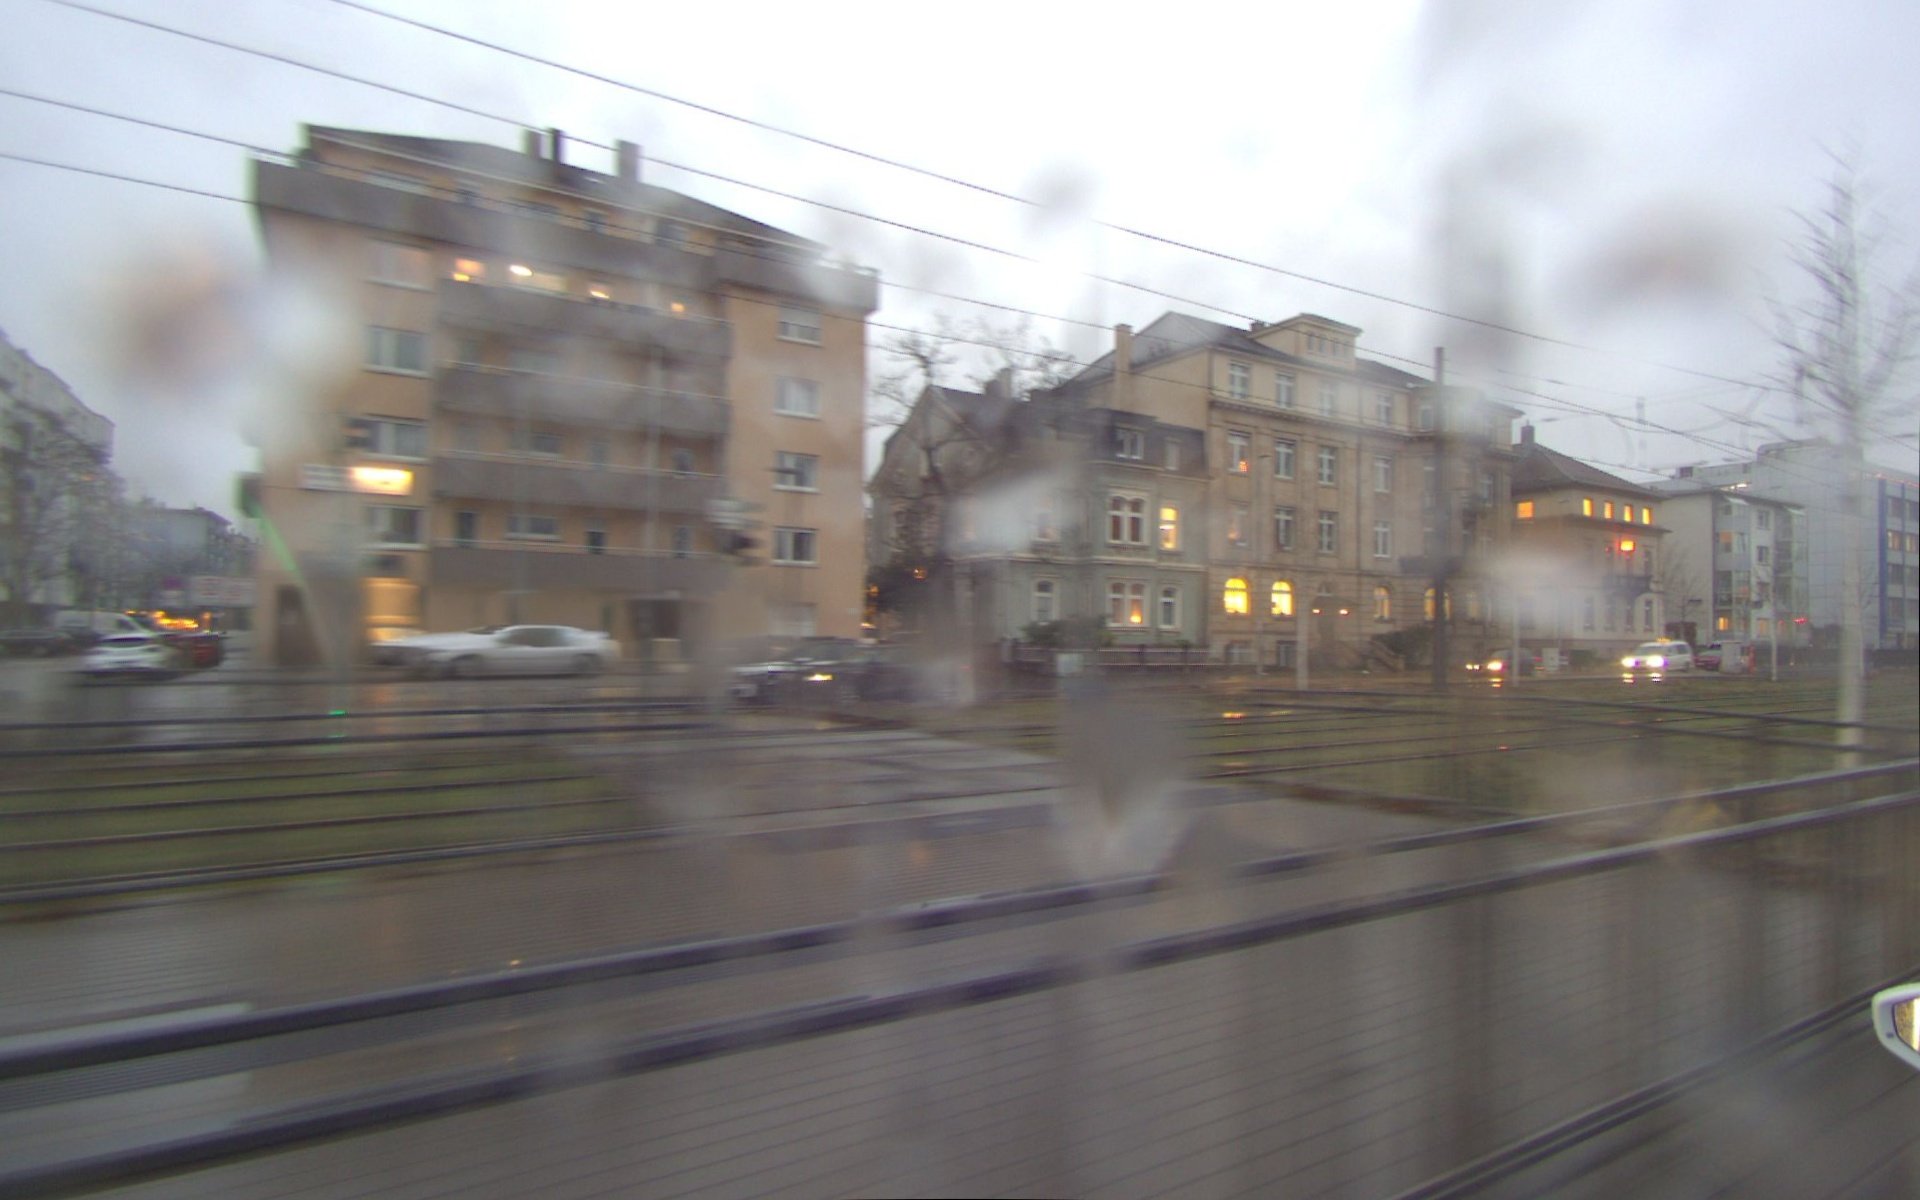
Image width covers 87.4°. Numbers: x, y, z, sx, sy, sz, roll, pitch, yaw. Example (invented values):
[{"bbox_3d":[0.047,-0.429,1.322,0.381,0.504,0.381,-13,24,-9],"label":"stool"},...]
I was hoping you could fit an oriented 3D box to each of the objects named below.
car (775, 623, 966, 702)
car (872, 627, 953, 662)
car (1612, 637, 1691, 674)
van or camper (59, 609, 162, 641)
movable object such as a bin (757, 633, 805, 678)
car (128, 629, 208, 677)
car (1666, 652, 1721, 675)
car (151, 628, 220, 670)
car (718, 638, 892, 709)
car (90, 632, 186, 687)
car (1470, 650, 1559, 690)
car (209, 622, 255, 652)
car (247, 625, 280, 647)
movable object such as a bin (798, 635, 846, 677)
[{"bbox_3d":[-2.015,1.419,22.978,3.956,1.606,1.791,3,-1,-32],"label":"car"},{"bbox_3d":[-2.131,1.921,43.716,1.813,1.425,3.965,2,-2,-32],"label":"car"},{"bbox_3d":[38.542,3.057,55.979,4.861,1.958,1.982,2,-3,-34],"label":"car"},{"bbox_3d":[-63.653,1.911,75.394,5.567,2.272,1.984,2,-2,-30],"label":"van or camper"},{"bbox_3d":[-6.522,2.001,36.542,1.410,1.581,1.101,2,-2,-34],"label":"movable object such as a bin"},{"bbox_3d":[-28.030,1.851,35.657,1.738,1.572,3.806,2,-2,-32],"label":"car"},{"bbox_3d":[49.470,4.260,67.745,3.886,1.455,1.795,2,-3,-34],"label":"car"},{"bbox_3d":[-30.924,1.946,40.207,1.738,1.572,3.806,2,-2,-32],"label":"car"},{"bbox_3d":[-3.896,1.842,25.463,3.956,1.606,1.791,3,-1,-32],"label":"car"},{"bbox_3d":[-25.476,1.801,31.250,1.758,1.572,3.806,2,-2,-32],"label":"car"},{"bbox_3d":[25.654,3.195,46.453,4.068,1.715,1.982,2,-3,-34],"label":"car"},{"bbox_3d":[-40.195,2.049,55.511,1.738,1.572,3.806,2,-2,-32],"label":"car"},{"bbox_3d":[-51.404,2.657,74.190,1.738,1.572,3.806,2,-2,-32],"label":"car"},{"bbox_3d":[-5.141,2.074,37.410,1.410,1.500,1.101,2,-2,-34],"label":"movable object such as a bin"}]
